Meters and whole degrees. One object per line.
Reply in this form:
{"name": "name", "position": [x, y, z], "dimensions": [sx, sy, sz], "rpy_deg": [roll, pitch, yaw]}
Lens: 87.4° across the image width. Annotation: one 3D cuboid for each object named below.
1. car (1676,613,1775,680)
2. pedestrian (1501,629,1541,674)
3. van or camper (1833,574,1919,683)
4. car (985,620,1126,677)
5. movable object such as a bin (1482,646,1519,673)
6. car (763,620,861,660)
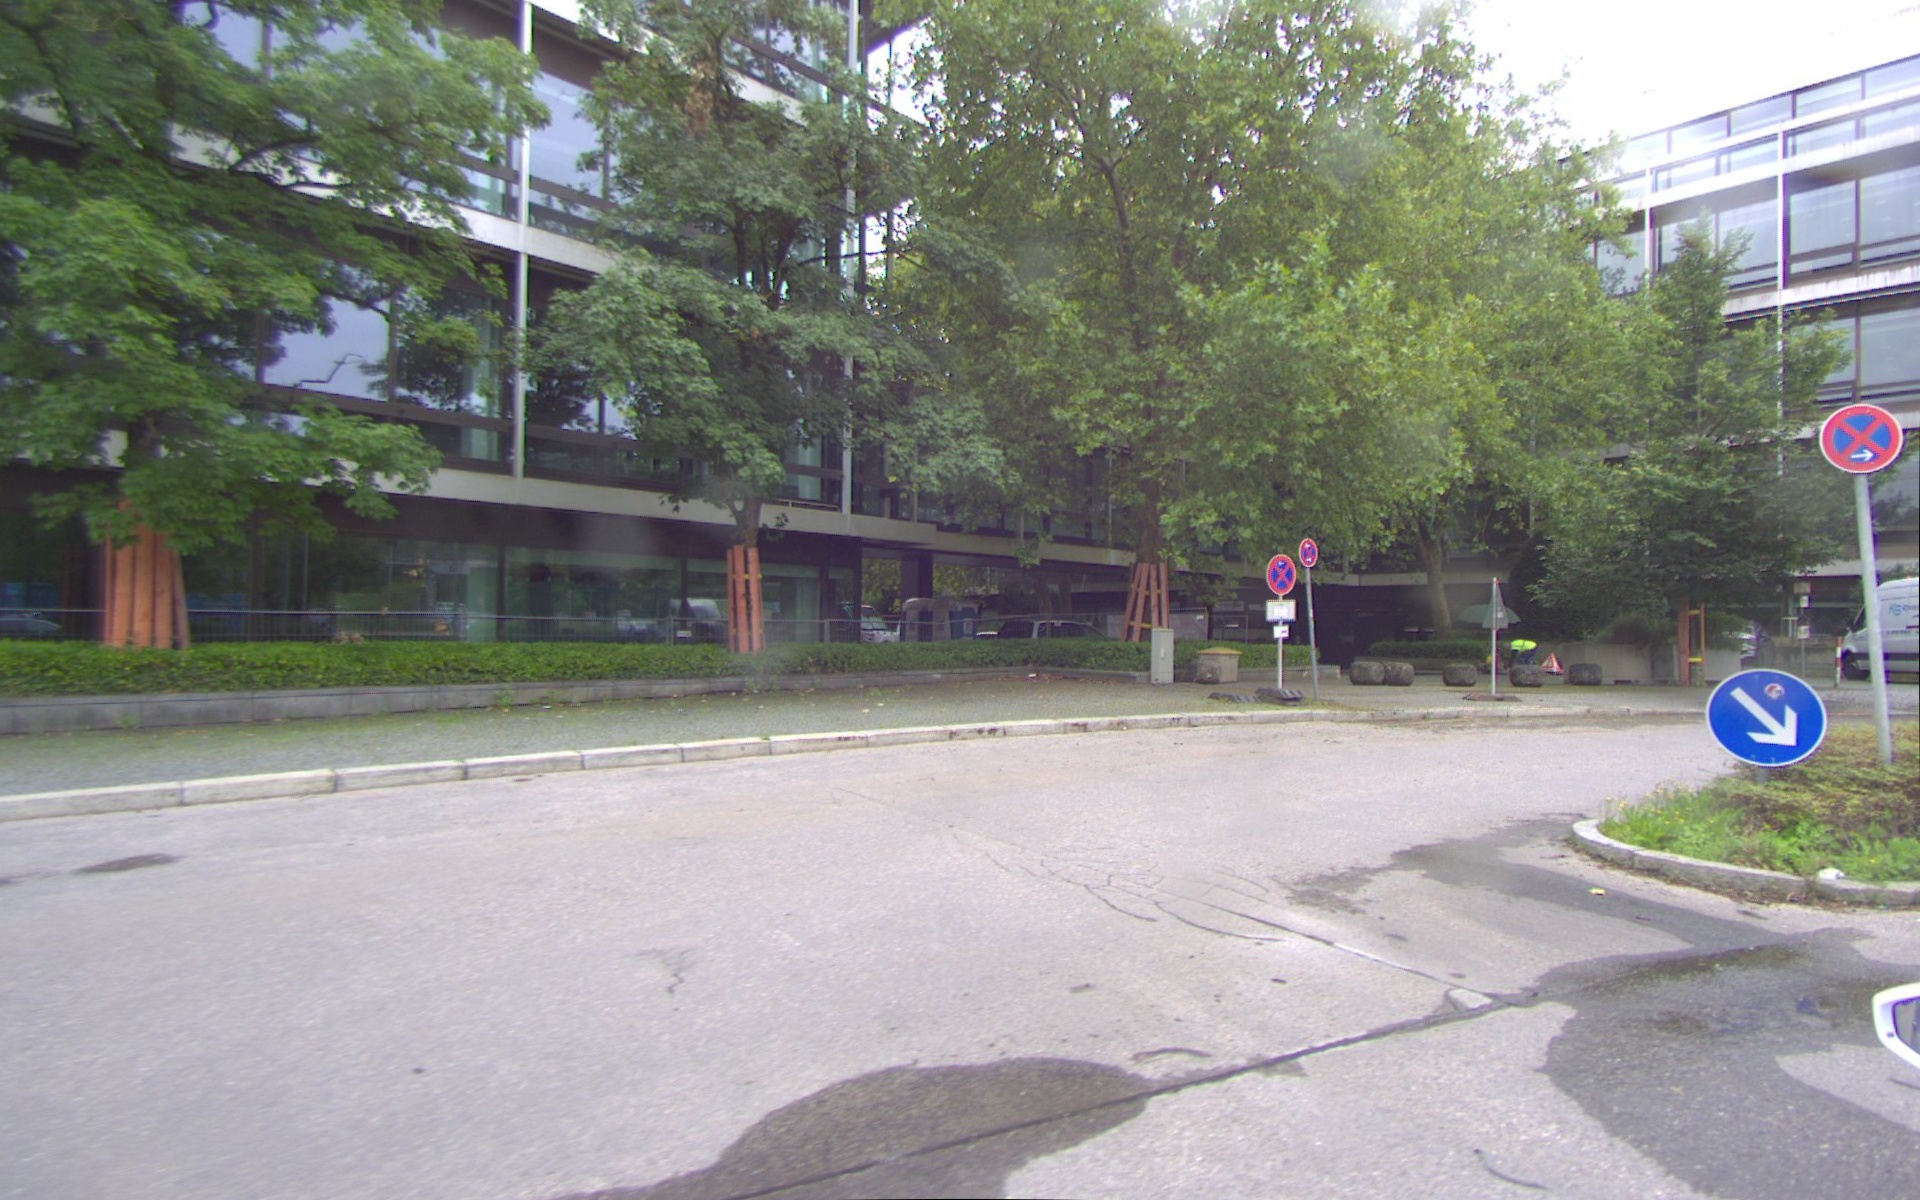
{"name": "car", "position": [21.728, 1.279, 28.455], "dimensions": [1.920, 1.744, 4.217], "rpy_deg": [-1, -2, 42]}
{"name": "pedestrian", "position": [16.556, 1.517, 29.637], "dimensions": [0.538, 1.295, 0.917], "rpy_deg": [1, -1, -42]}
{"name": "van or camper", "position": [24.268, 0.750, 24.615], "dimensions": [2.120, 2.614, 6.540], "rpy_deg": [1, -3, 20]}
{"name": "car", "position": [2.728, 1.321, 28.151], "dimensions": [3.833, 1.493, 1.889], "rpy_deg": [2, -2, -43]}
{"name": "movable object such as a bin", "position": [16.141, 1.771, 30.017], "dimensions": [0.568, 0.763, 0.827], "rpy_deg": [1, -1, -41]}
{"name": "car", "position": [-6.000, 1.576, 40.481], "dimensions": [3.803, 1.493, 1.904], "rpy_deg": [0, -2, 41]}
